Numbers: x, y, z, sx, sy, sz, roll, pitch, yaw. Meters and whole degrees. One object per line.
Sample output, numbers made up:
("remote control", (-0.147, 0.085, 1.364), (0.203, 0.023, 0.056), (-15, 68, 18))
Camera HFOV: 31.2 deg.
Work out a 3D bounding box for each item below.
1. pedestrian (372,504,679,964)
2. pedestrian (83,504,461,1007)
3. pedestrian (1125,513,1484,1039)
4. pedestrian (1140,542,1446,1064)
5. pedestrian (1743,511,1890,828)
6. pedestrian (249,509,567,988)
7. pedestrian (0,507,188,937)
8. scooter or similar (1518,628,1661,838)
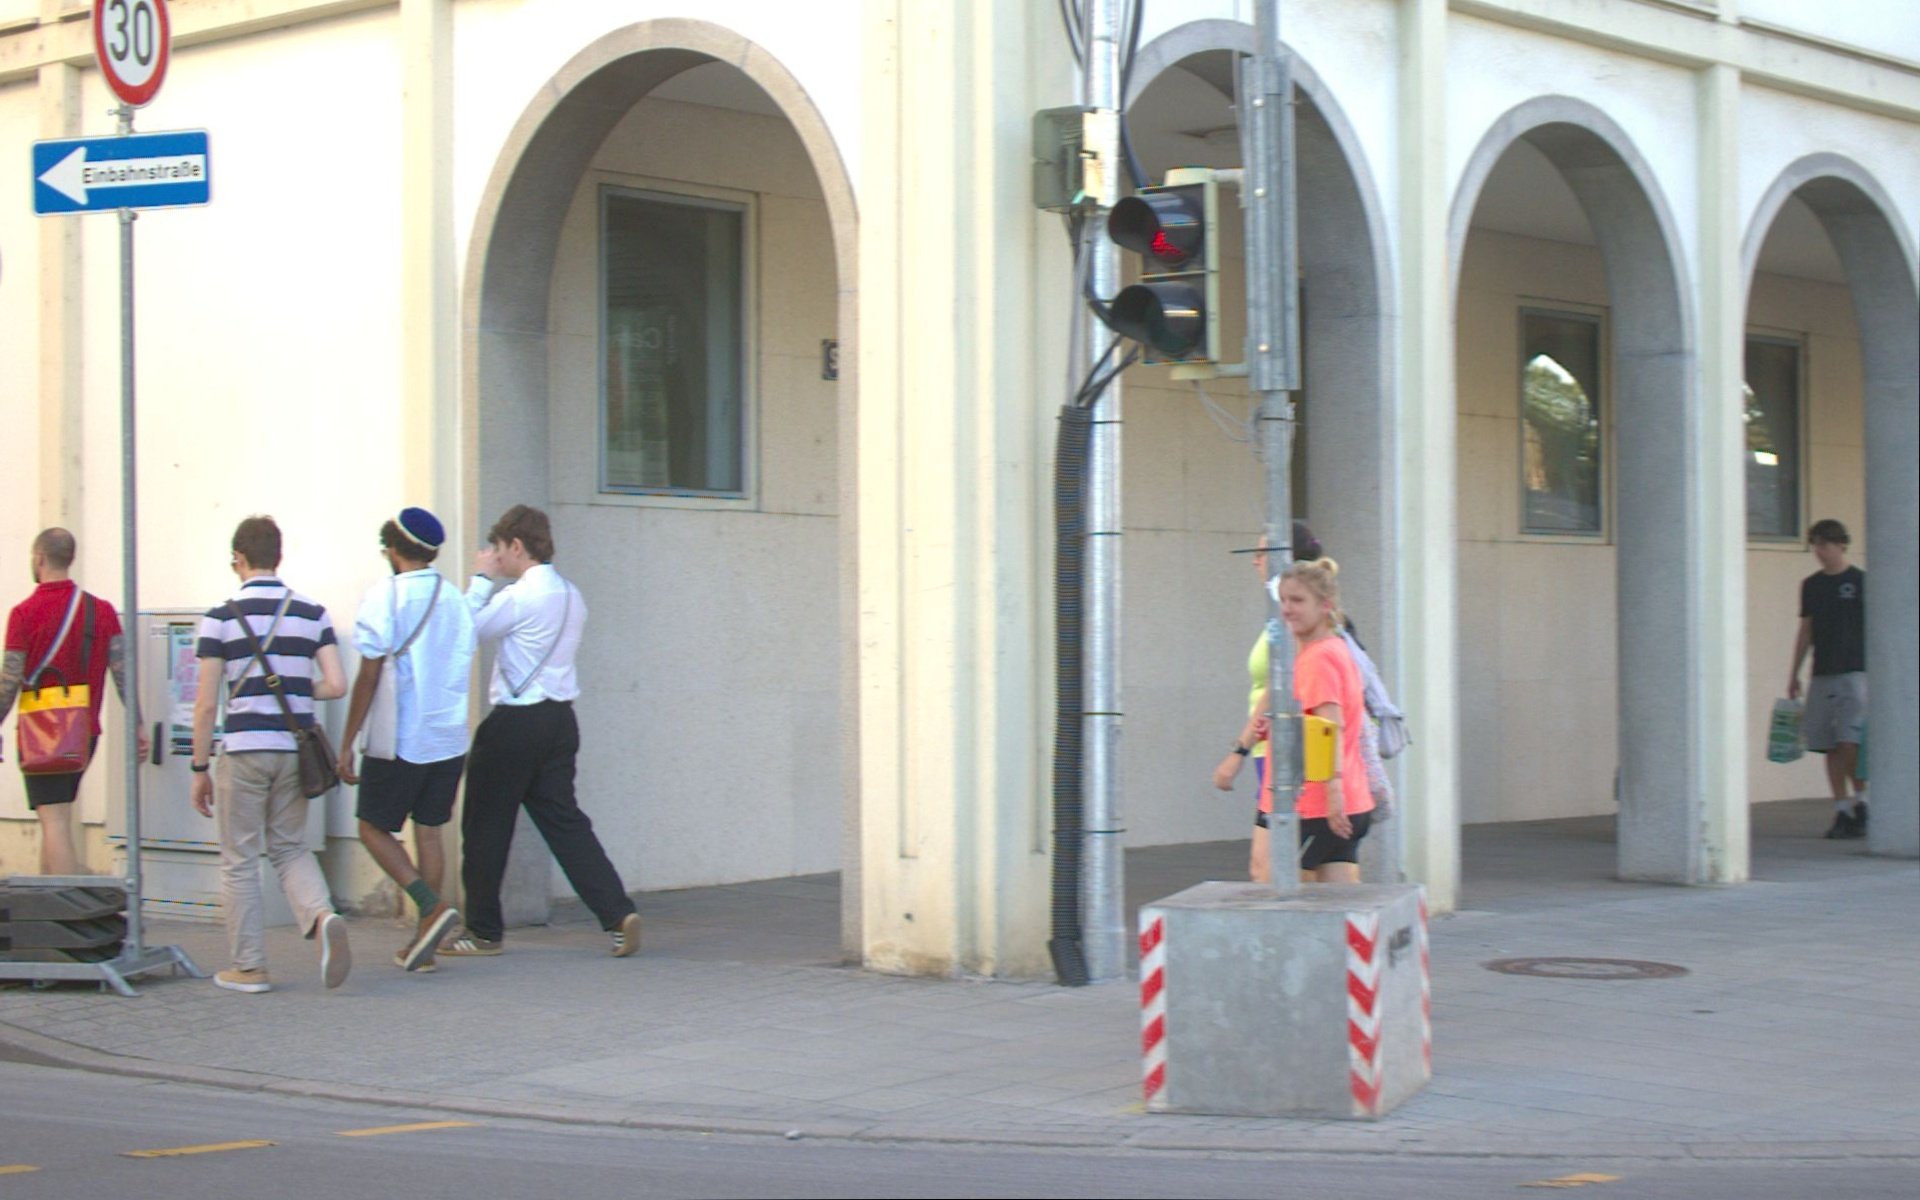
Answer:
("pedestrian", (-1.763, 0.522, 13.958), (0.940, 1.771, 0.709), (-1, 2, 42))
("pedestrian", (-2.626, 0.563, 13.093), (1.246, 1.795, 0.715), (-1, 2, 42))
("pedestrian", (1.184, 0.571, 11.836), (0.967, 1.704, 0.674), (0, 3, 42))
("pedestrian", (1.093, 0.636, 11.278), (0.726, 1.618, 0.618), (0, 3, 42))
("pedestrian", (5.126, 0.404, 20.560), (0.641, 1.834, 0.726), (-1, 3, 29))
("pedestrian", (-2.159, 0.555, 13.447), (0.940, 1.771, 0.709), (-1, 2, 42))
("pedestrian", (-3.956, 0.514, 15.068), (0.775, 1.795, 0.709), (-1, 2, 42))
("scooter or similar", (3.732, 0.774, 20.340), (0.618, 1.154, 0.957), (-1, 3, 23))
